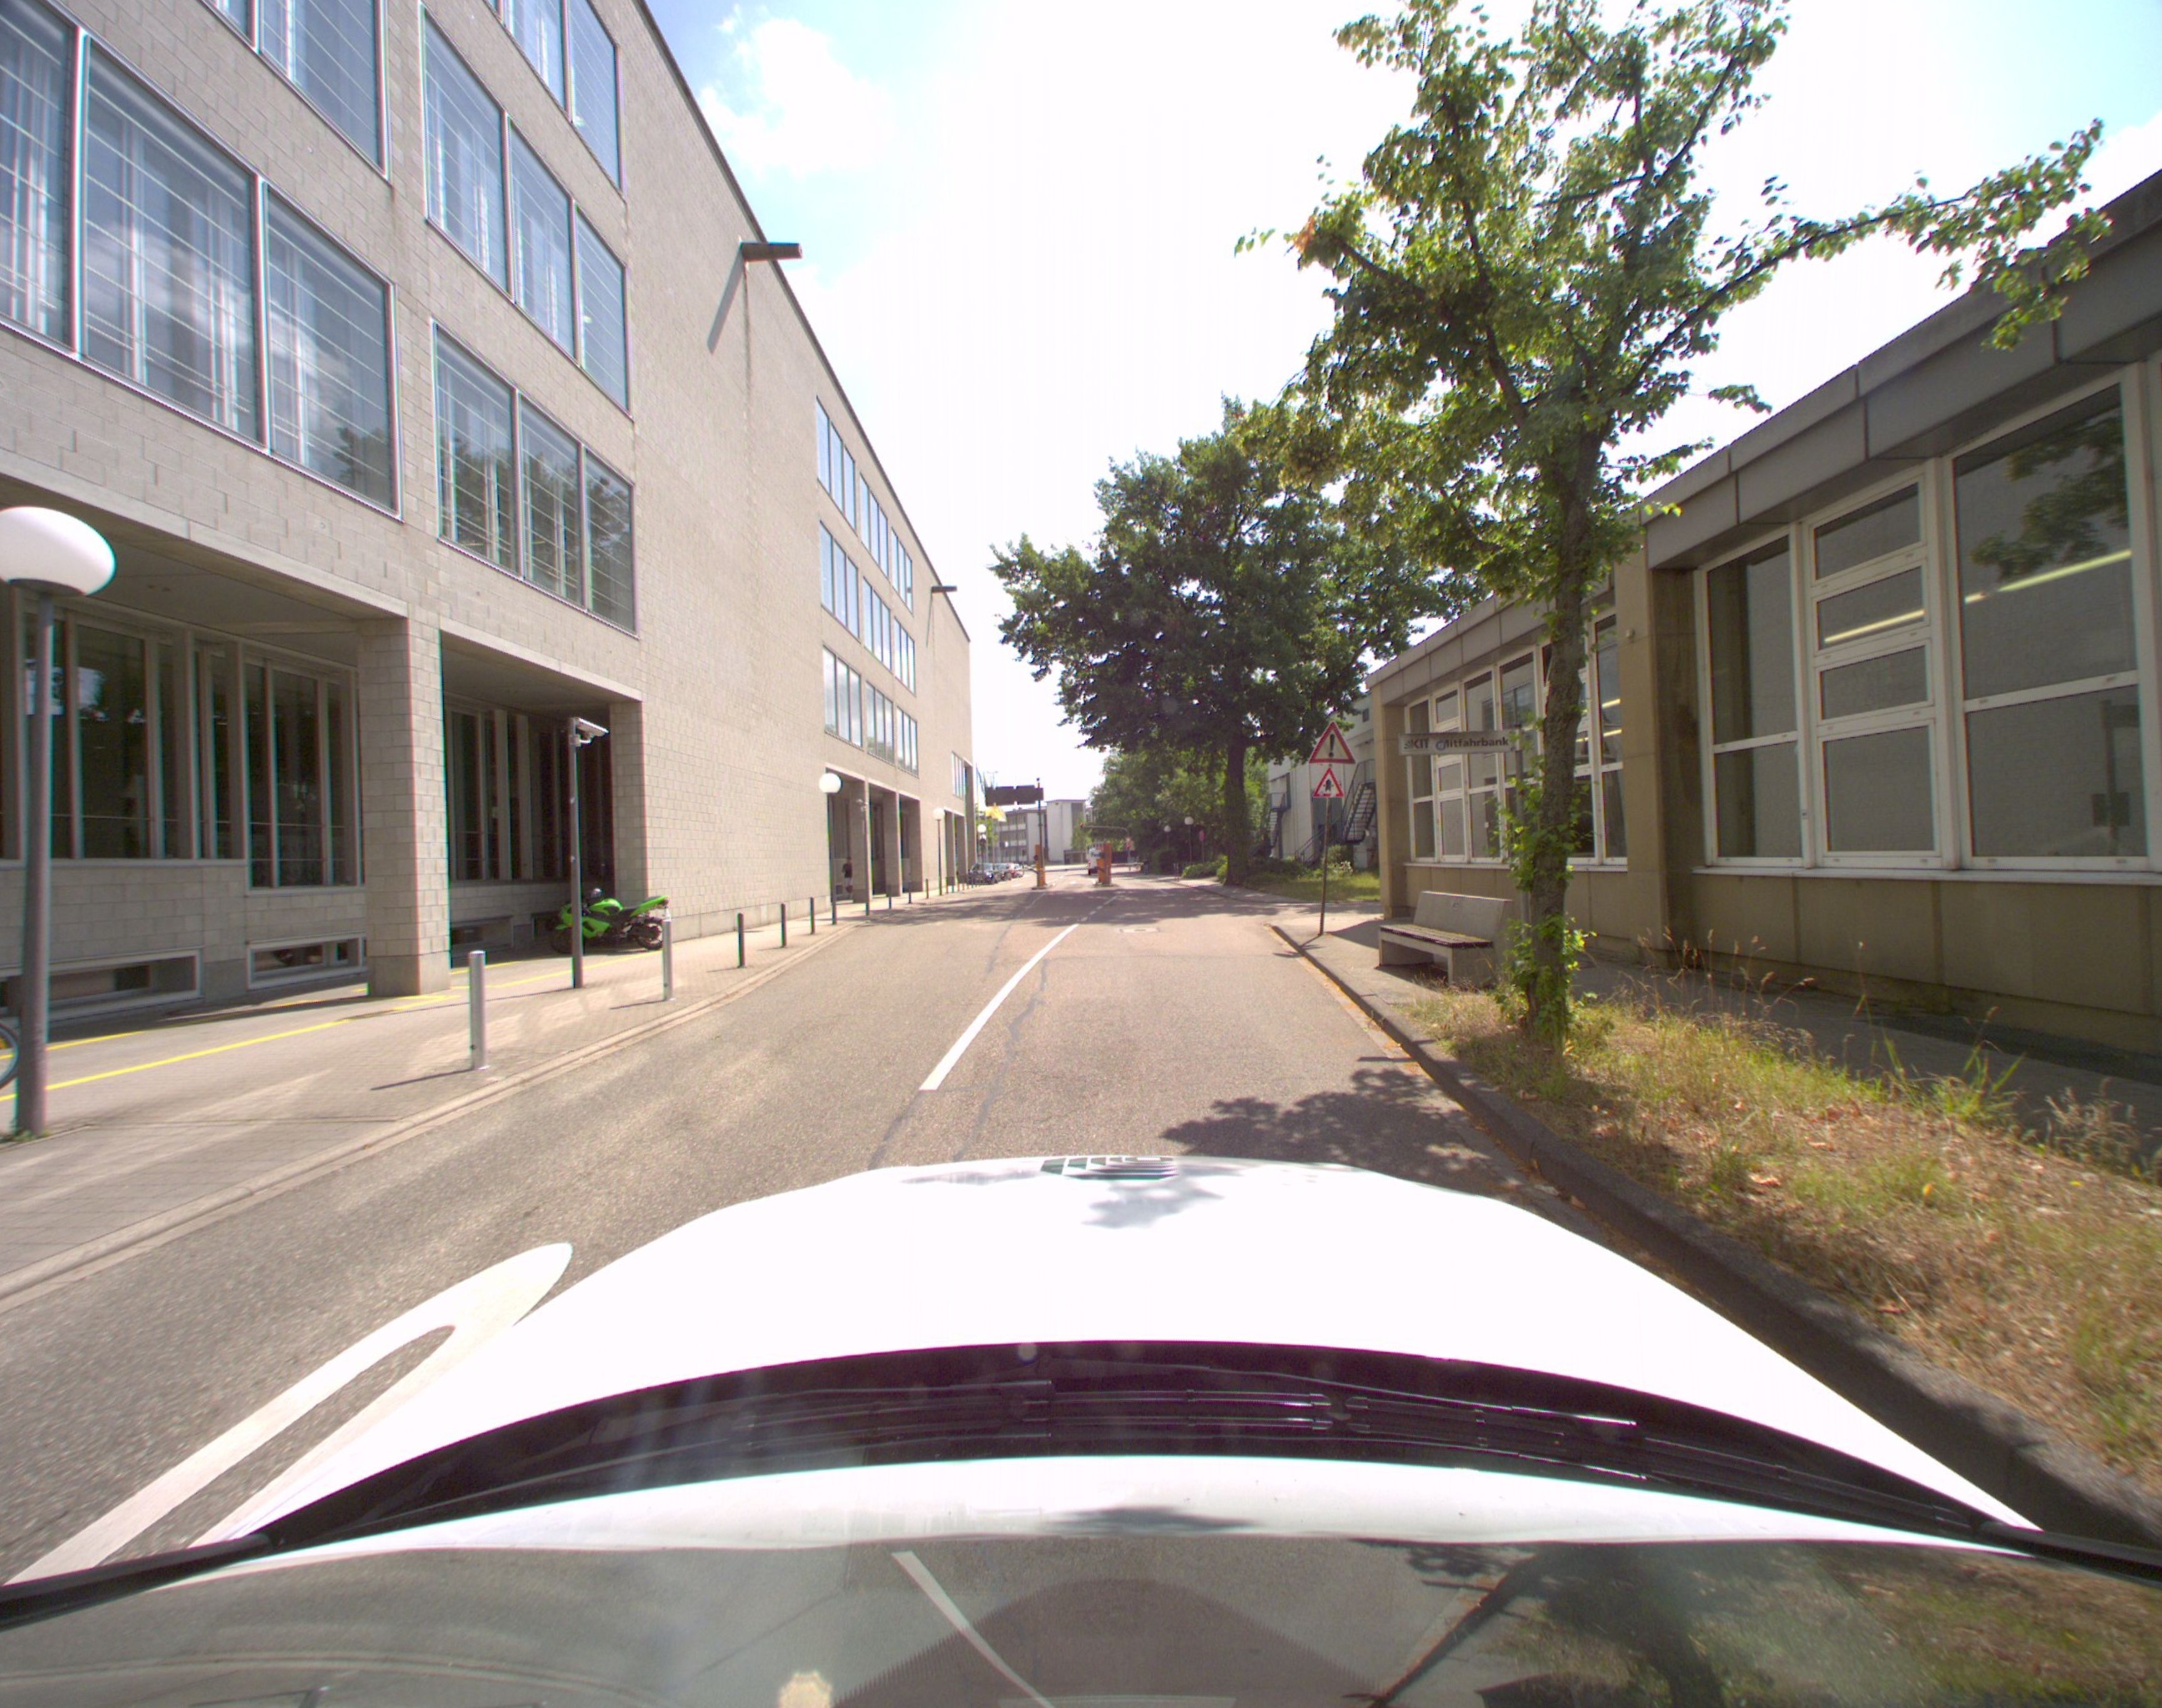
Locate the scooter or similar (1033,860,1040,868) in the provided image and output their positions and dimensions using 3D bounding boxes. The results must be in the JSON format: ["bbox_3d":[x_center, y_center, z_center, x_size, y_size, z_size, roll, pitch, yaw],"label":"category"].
[{"bbox_3d":[-7.176,1.646,130.055,0.717,1.178,2.715,-2,-1,-11],"label":"scooter or similar"}]

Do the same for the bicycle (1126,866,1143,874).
[{"bbox_3d":[6.643,1.989,101.106,2.118,0.995,0.671,-1,-1,-40],"label":"bicycle"}]

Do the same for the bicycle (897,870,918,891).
[{"bbox_3d":[-9.640,1.468,45.303,0.829,1.069,2.467,-1,-1,-4],"label":"bicycle"}]

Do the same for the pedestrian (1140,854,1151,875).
[{"bbox_3d":[5.409,0.892,68.480,0.738,1.674,1.255,-2,-1,-3],"label":"pedestrian"}]

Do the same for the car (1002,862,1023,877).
[{"bbox_3d":[-6.631,1.513,79.366,1.671,1.467,3.911,0,-1,1],"label":"car"}]

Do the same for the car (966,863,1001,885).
[{"bbox_3d":[-6.675,1.350,56.316,1.853,1.467,4.717,0,0,0],"label":"car"}]

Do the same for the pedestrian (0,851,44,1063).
[{"bbox_3d":[-9.765,0.901,6.845,0.775,1.838,1.013,-1,-1,-1],"label":"pedestrian"}]

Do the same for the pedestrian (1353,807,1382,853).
[{"bbox_3d":[12.969,-1.082,36.914,0.923,2.013,0.950,-2,-1,3],"label":"pedestrian"}]

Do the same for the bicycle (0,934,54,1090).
[{"bbox_3d":[-8.582,1.163,5.787,1.636,1.086,0.607,-1,-1,-6],"label":"bicycle"}]

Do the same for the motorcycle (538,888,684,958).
[{"bbox_3d":[-8.585,1.237,14.958,2.166,1.138,0.772,-1,-1,-11],"label":"motorcycle"}]

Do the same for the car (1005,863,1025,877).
[{"bbox_3d":[-6.833,1.631,84.512,1.671,1.395,4.662,0,0,1],"label":"car"}]

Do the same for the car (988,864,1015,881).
[{"bbox_3d":[-6.589,1.498,68.255,1.854,1.378,5.013,0,0,-1],"label":"car"}]

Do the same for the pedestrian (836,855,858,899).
[{"bbox_3d":[-10.317,1.002,35.846,0.729,1.880,0.719,-1,-1,0],"label":"pedestrian"}]

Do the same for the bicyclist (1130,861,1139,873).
[{"bbox_3d":[6.589,1.569,101.078,0.899,1.495,0.656,0,-1,-40],"label":"bicyclist"}]

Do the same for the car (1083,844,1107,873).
[{"bbox_3d":[1.304,0.450,77.746,2.089,2.566,5.600,-2,0,-1],"label":"car"}]
